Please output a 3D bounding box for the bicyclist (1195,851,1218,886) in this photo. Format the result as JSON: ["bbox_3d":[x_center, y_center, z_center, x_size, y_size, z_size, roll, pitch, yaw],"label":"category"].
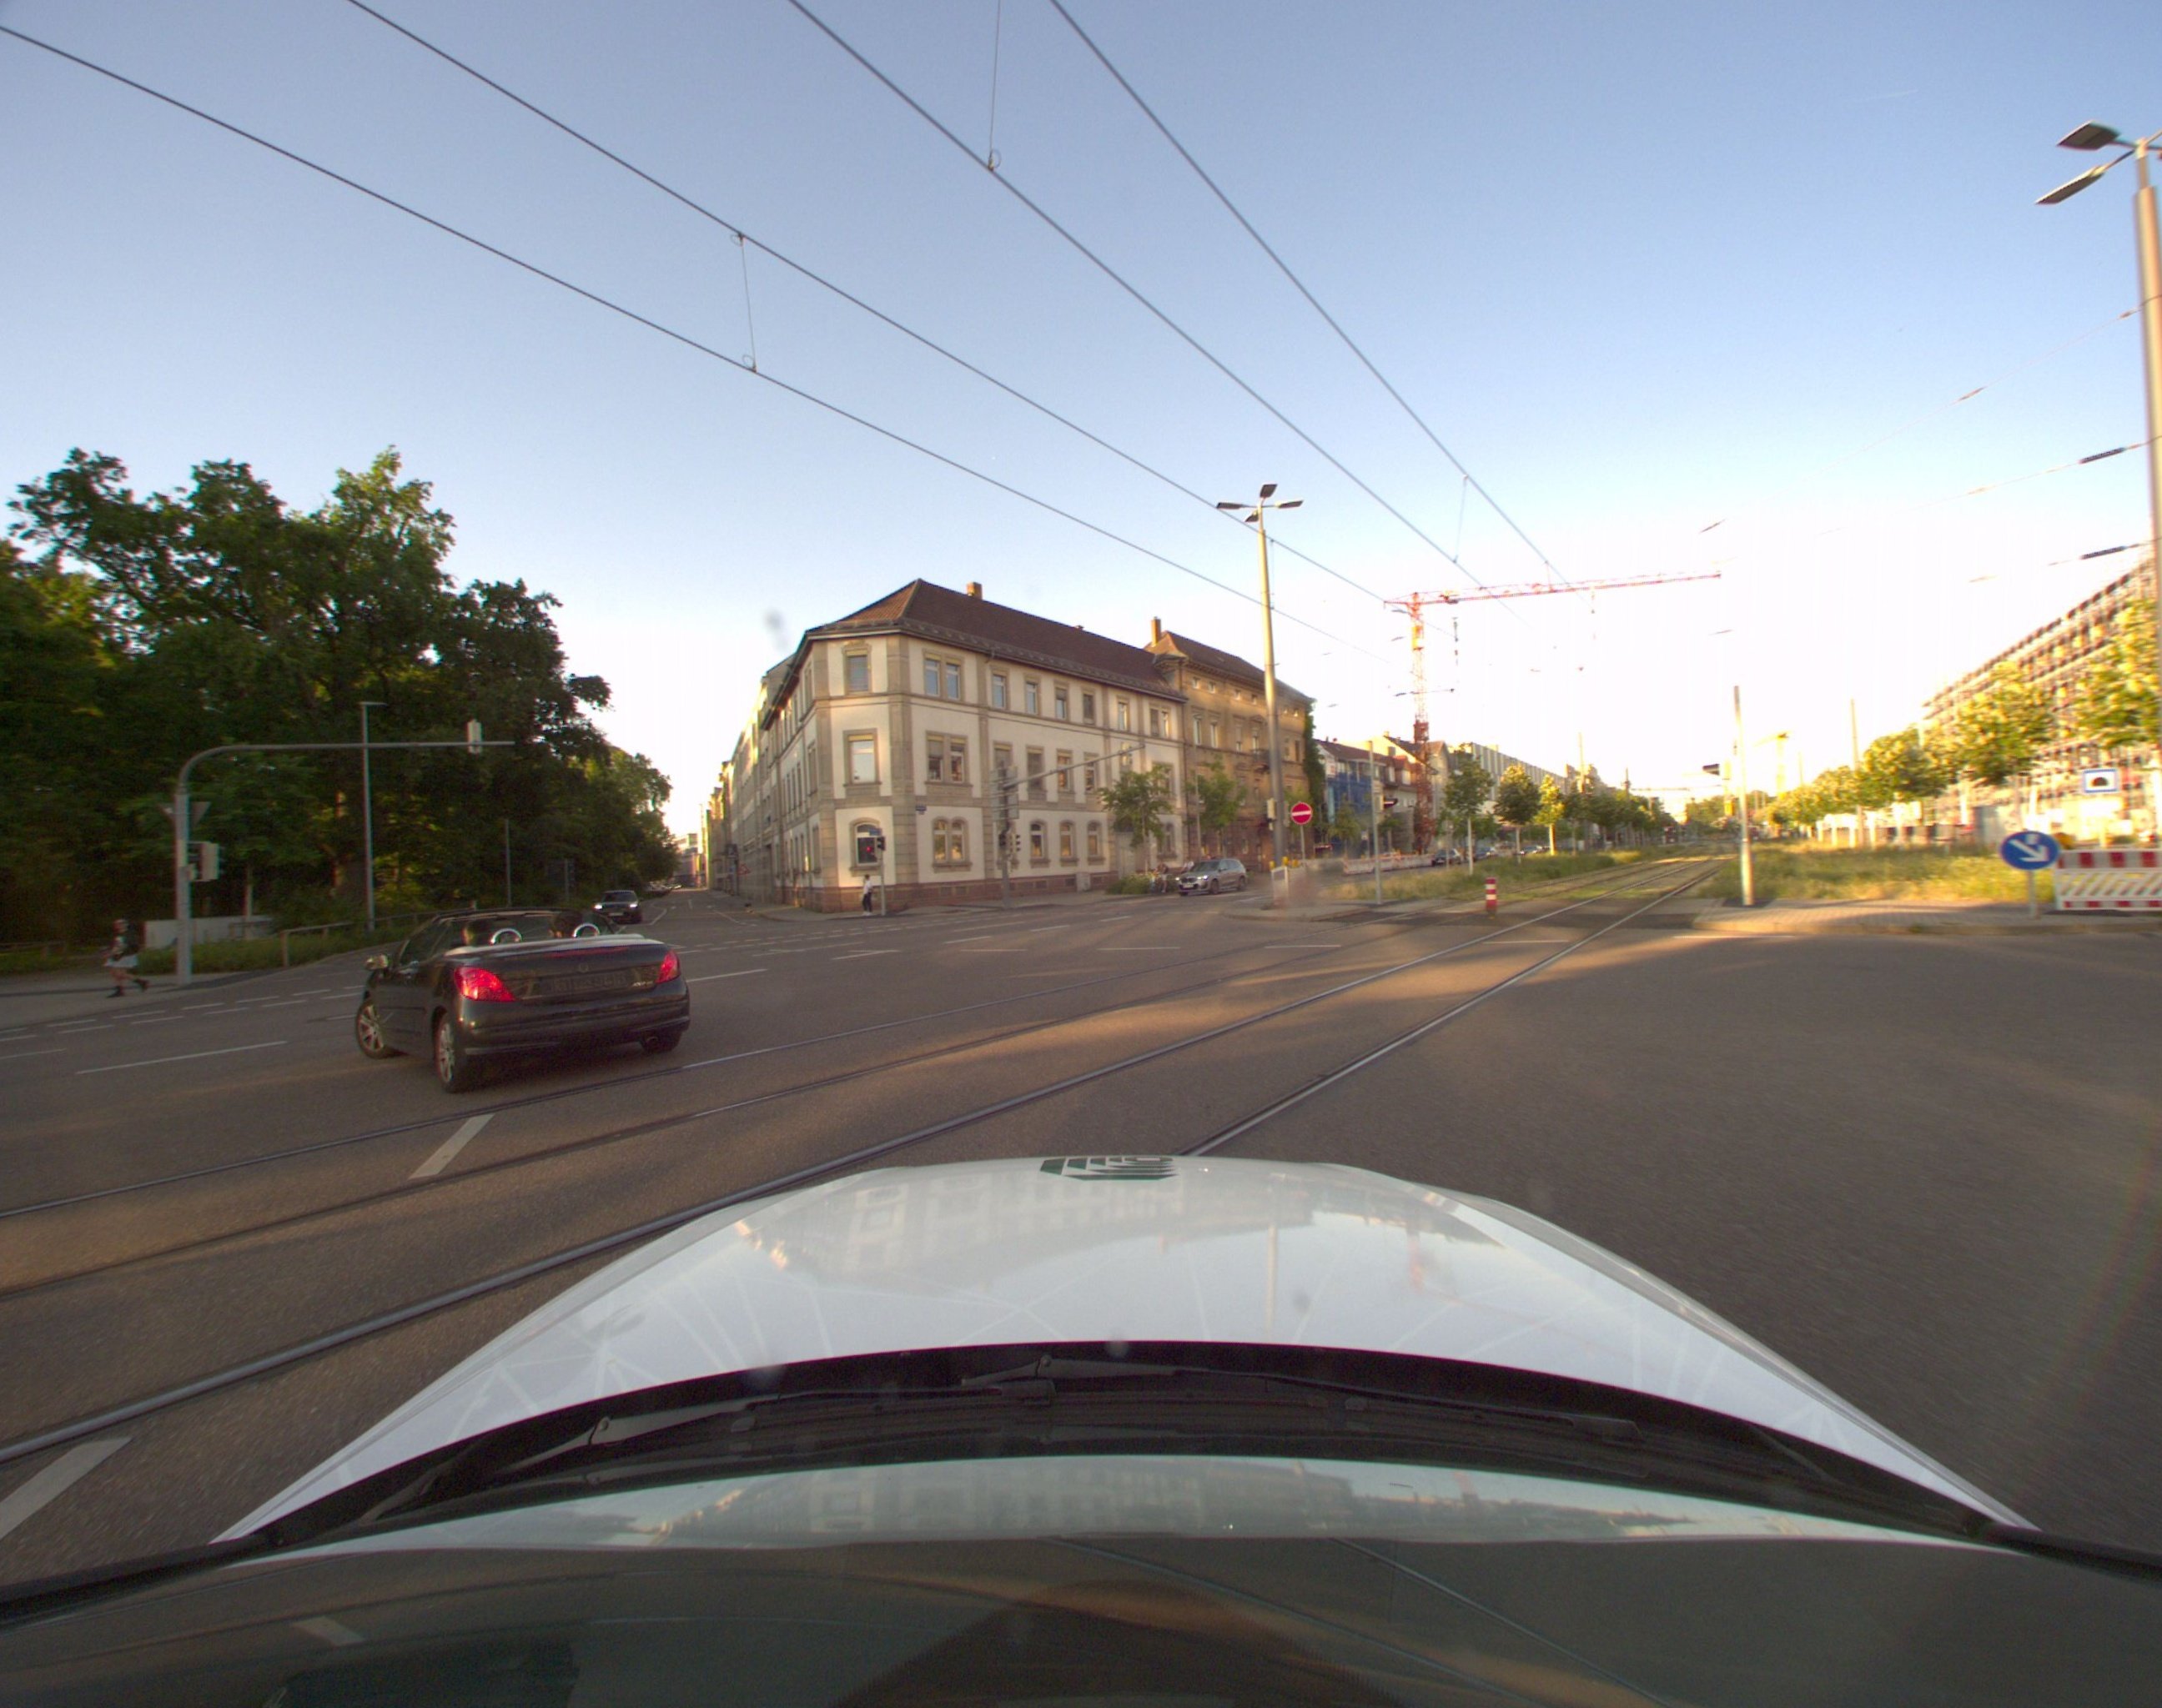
[{"bbox_3d":[6.436,0.743,41.740,0.696,1.701,0.773,-7,-2,33],"label":"bicyclist"}]

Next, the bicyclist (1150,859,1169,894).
[{"bbox_3d":[3.874,1.129,40.419,0.504,1.701,0.773,-3,0,43],"label":"bicyclist"}]

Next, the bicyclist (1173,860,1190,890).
[{"bbox_3d":[5.220,1.102,42.383,0.506,1.548,0.696,-2,0,41],"label":"bicyclist"}]

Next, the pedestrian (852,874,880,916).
[{"bbox_3d":[-8.739,1.663,33.115,0.809,1.656,0.640,-3,-1,19],"label":"pedestrian"}]

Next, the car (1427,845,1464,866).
[{"bbox_3d":[30.735,0.116,68.665,1.681,1.597,4.287,-5,-2,39],"label":"car"}]

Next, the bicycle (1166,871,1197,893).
[{"bbox_3d":[5.229,1.434,42.374,0.511,1.051,2.057,-2,0,41],"label":"bicycle"}]

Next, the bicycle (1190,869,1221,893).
[{"bbox_3d":[6.362,1.388,41.523,0.712,1.051,2.057,-7,-2,33],"label":"bicycle"}]

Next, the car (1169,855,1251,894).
[{"bbox_3d":[6.075,0.930,38.014,1.811,1.597,4.287,-5,-2,39],"label":"car"}]

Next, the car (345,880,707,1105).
[{"bbox_3d":[-5.241,1.058,7.501,3.851,1.449,1.735,-3,-1,40],"label":"car"}]

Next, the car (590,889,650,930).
[{"bbox_3d":[-19.987,2.365,35.457,1.832,1.517,3.547,-3,-1,-24],"label":"car"}]

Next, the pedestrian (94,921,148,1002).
[{"bbox_3d":[-18.961,2.097,16.097,0.573,1.504,0.622,-4,-1,44],"label":"pedestrian"}]

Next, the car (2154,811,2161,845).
[{"bbox_3d":[50.344,-1.207,36.480,1.974,1.574,4.025,-4,-1,42],"label":"car"}]

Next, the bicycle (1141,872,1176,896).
[{"bbox_3d":[3.843,1.486,40.369,0.522,1.051,2.060,-3,0,43],"label":"bicycle"}]
